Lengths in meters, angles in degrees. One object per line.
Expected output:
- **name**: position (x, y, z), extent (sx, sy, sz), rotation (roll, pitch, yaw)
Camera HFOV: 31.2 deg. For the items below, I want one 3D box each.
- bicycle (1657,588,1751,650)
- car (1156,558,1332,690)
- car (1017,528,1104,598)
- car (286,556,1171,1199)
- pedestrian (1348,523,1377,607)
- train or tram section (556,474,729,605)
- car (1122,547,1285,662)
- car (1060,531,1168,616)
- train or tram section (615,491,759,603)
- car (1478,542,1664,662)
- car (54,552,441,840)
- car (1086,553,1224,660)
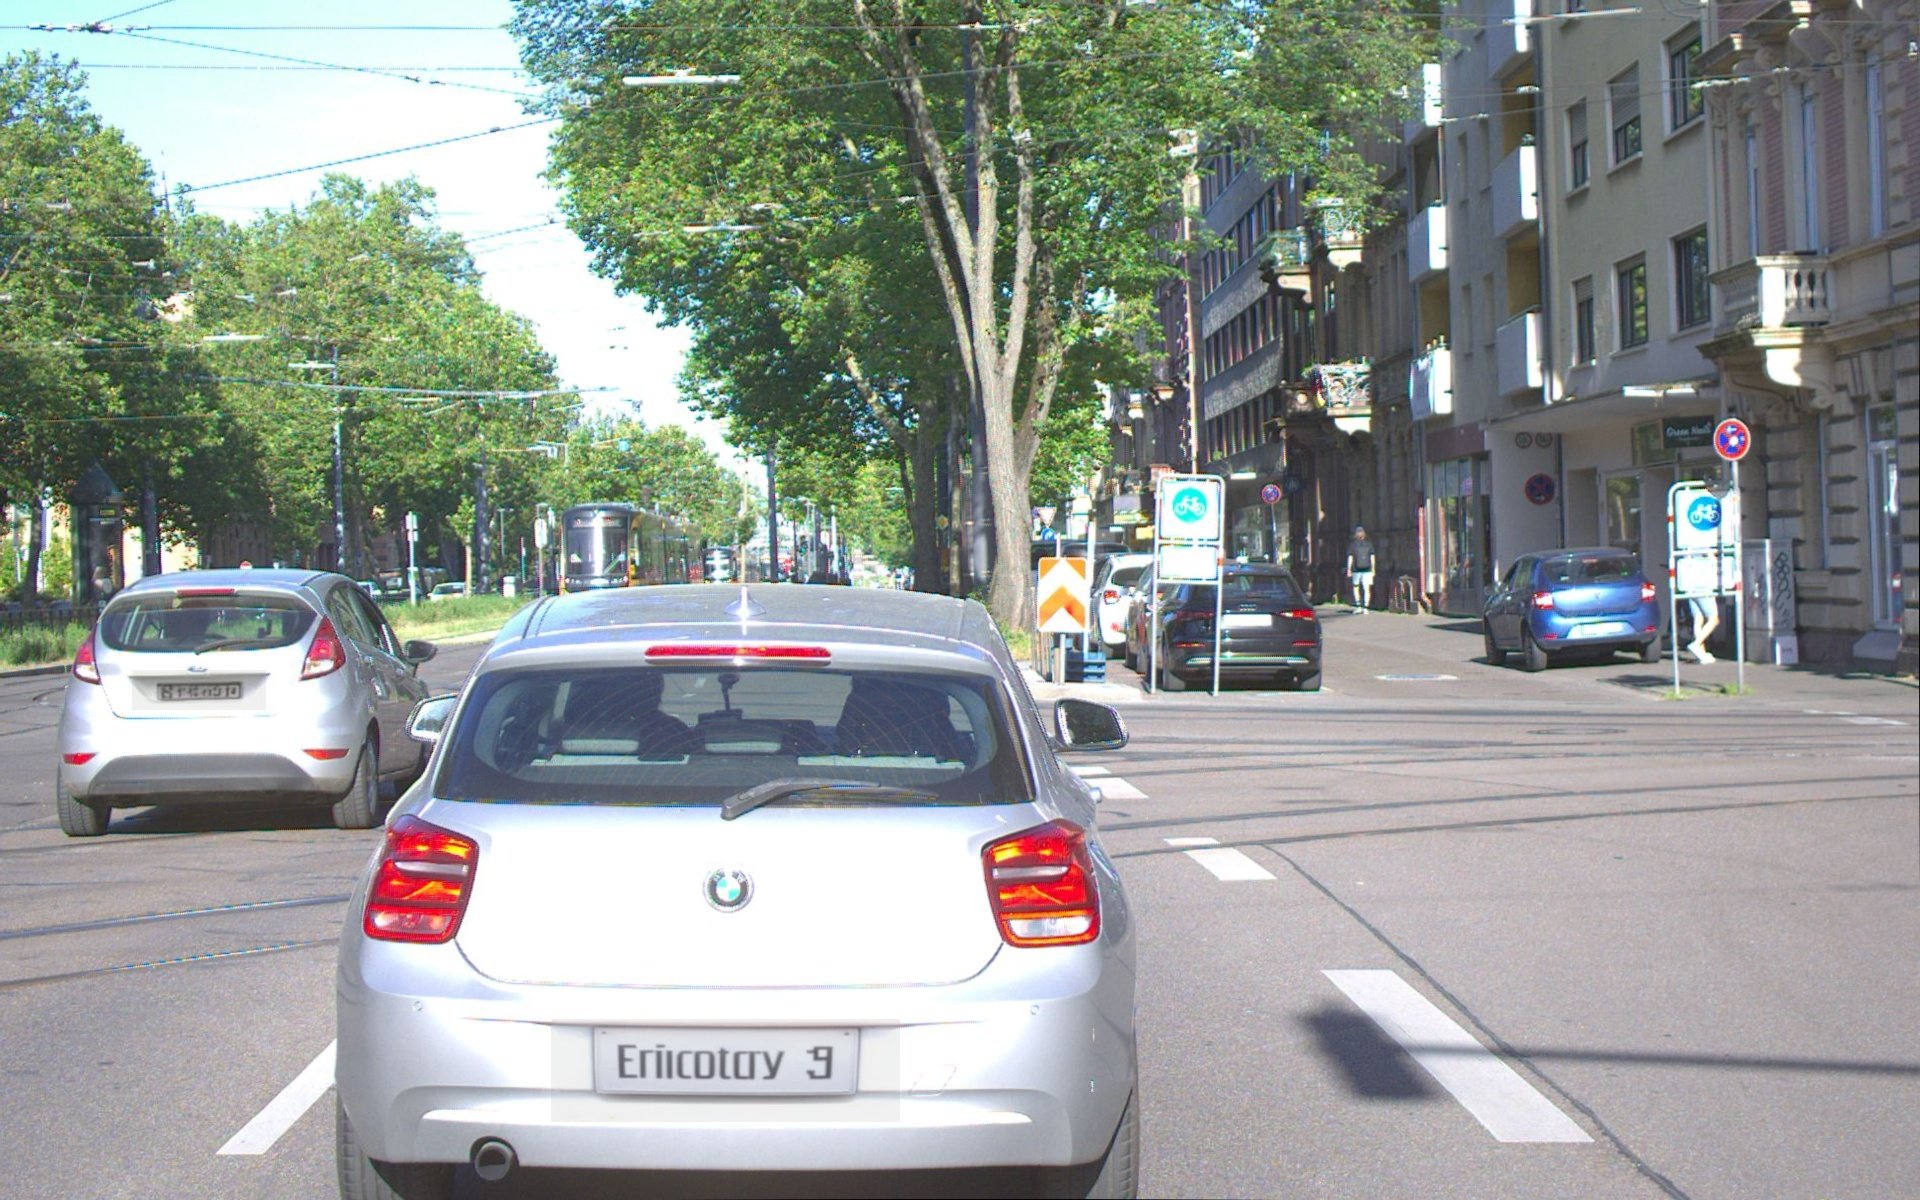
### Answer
- **bicycle**: position (9.796, 0.239, 45.330), extent (0.754, 0.768, 1.945), rotation (-1, 1, -2)
- **car**: position (3.197, 0.237, 39.328), extent (1.735, 1.428, 3.678), rotation (0, 1, 0)
- **car**: position (2.197, -0.825, 75.756), extent (1.724, 1.502, 3.555), rotation (0, 1, -2)
- **car**: position (-0.470, 0.632, 8.792), extent (1.740, 1.462, 4.000), rotation (0, 1, 0)
- **pedestrian**: position (8.761, -0.766, 74.843), extent (0.505, 1.795, 0.805), rotation (-1, 1, 0)
- **train or tram section**: position (-10.071, -1.956, 111.579), extent (3.969, 3.852, 17.489), rotation (-1, 1, 0)
- **car**: position (3.095, 0.028, 44.286), extent (1.743, 1.428, 3.555), rotation (0, 1, -2)
- **car**: position (2.794, -0.499, 63.114), extent (1.724, 1.502, 3.555), rotation (0, 1, -2)
- **train or tram section**: position (-10.075, -1.996, 129.256), extent (4.005, 3.852, 17.489), rotation (-1, 1, 0)
- **car**: position (7.961, -0.001, 45.091), extent (1.735, 1.514, 3.637), rotation (0, 1, -1)
- **car**: position (-4.020, 0.474, 19.928), extent (1.609, 1.462, 3.890), rotation (-1, 1, -3)
- **car**: position (2.829, 0.067, 50.393), extent (1.724, 1.502, 3.555), rotation (0, 1, -2)
